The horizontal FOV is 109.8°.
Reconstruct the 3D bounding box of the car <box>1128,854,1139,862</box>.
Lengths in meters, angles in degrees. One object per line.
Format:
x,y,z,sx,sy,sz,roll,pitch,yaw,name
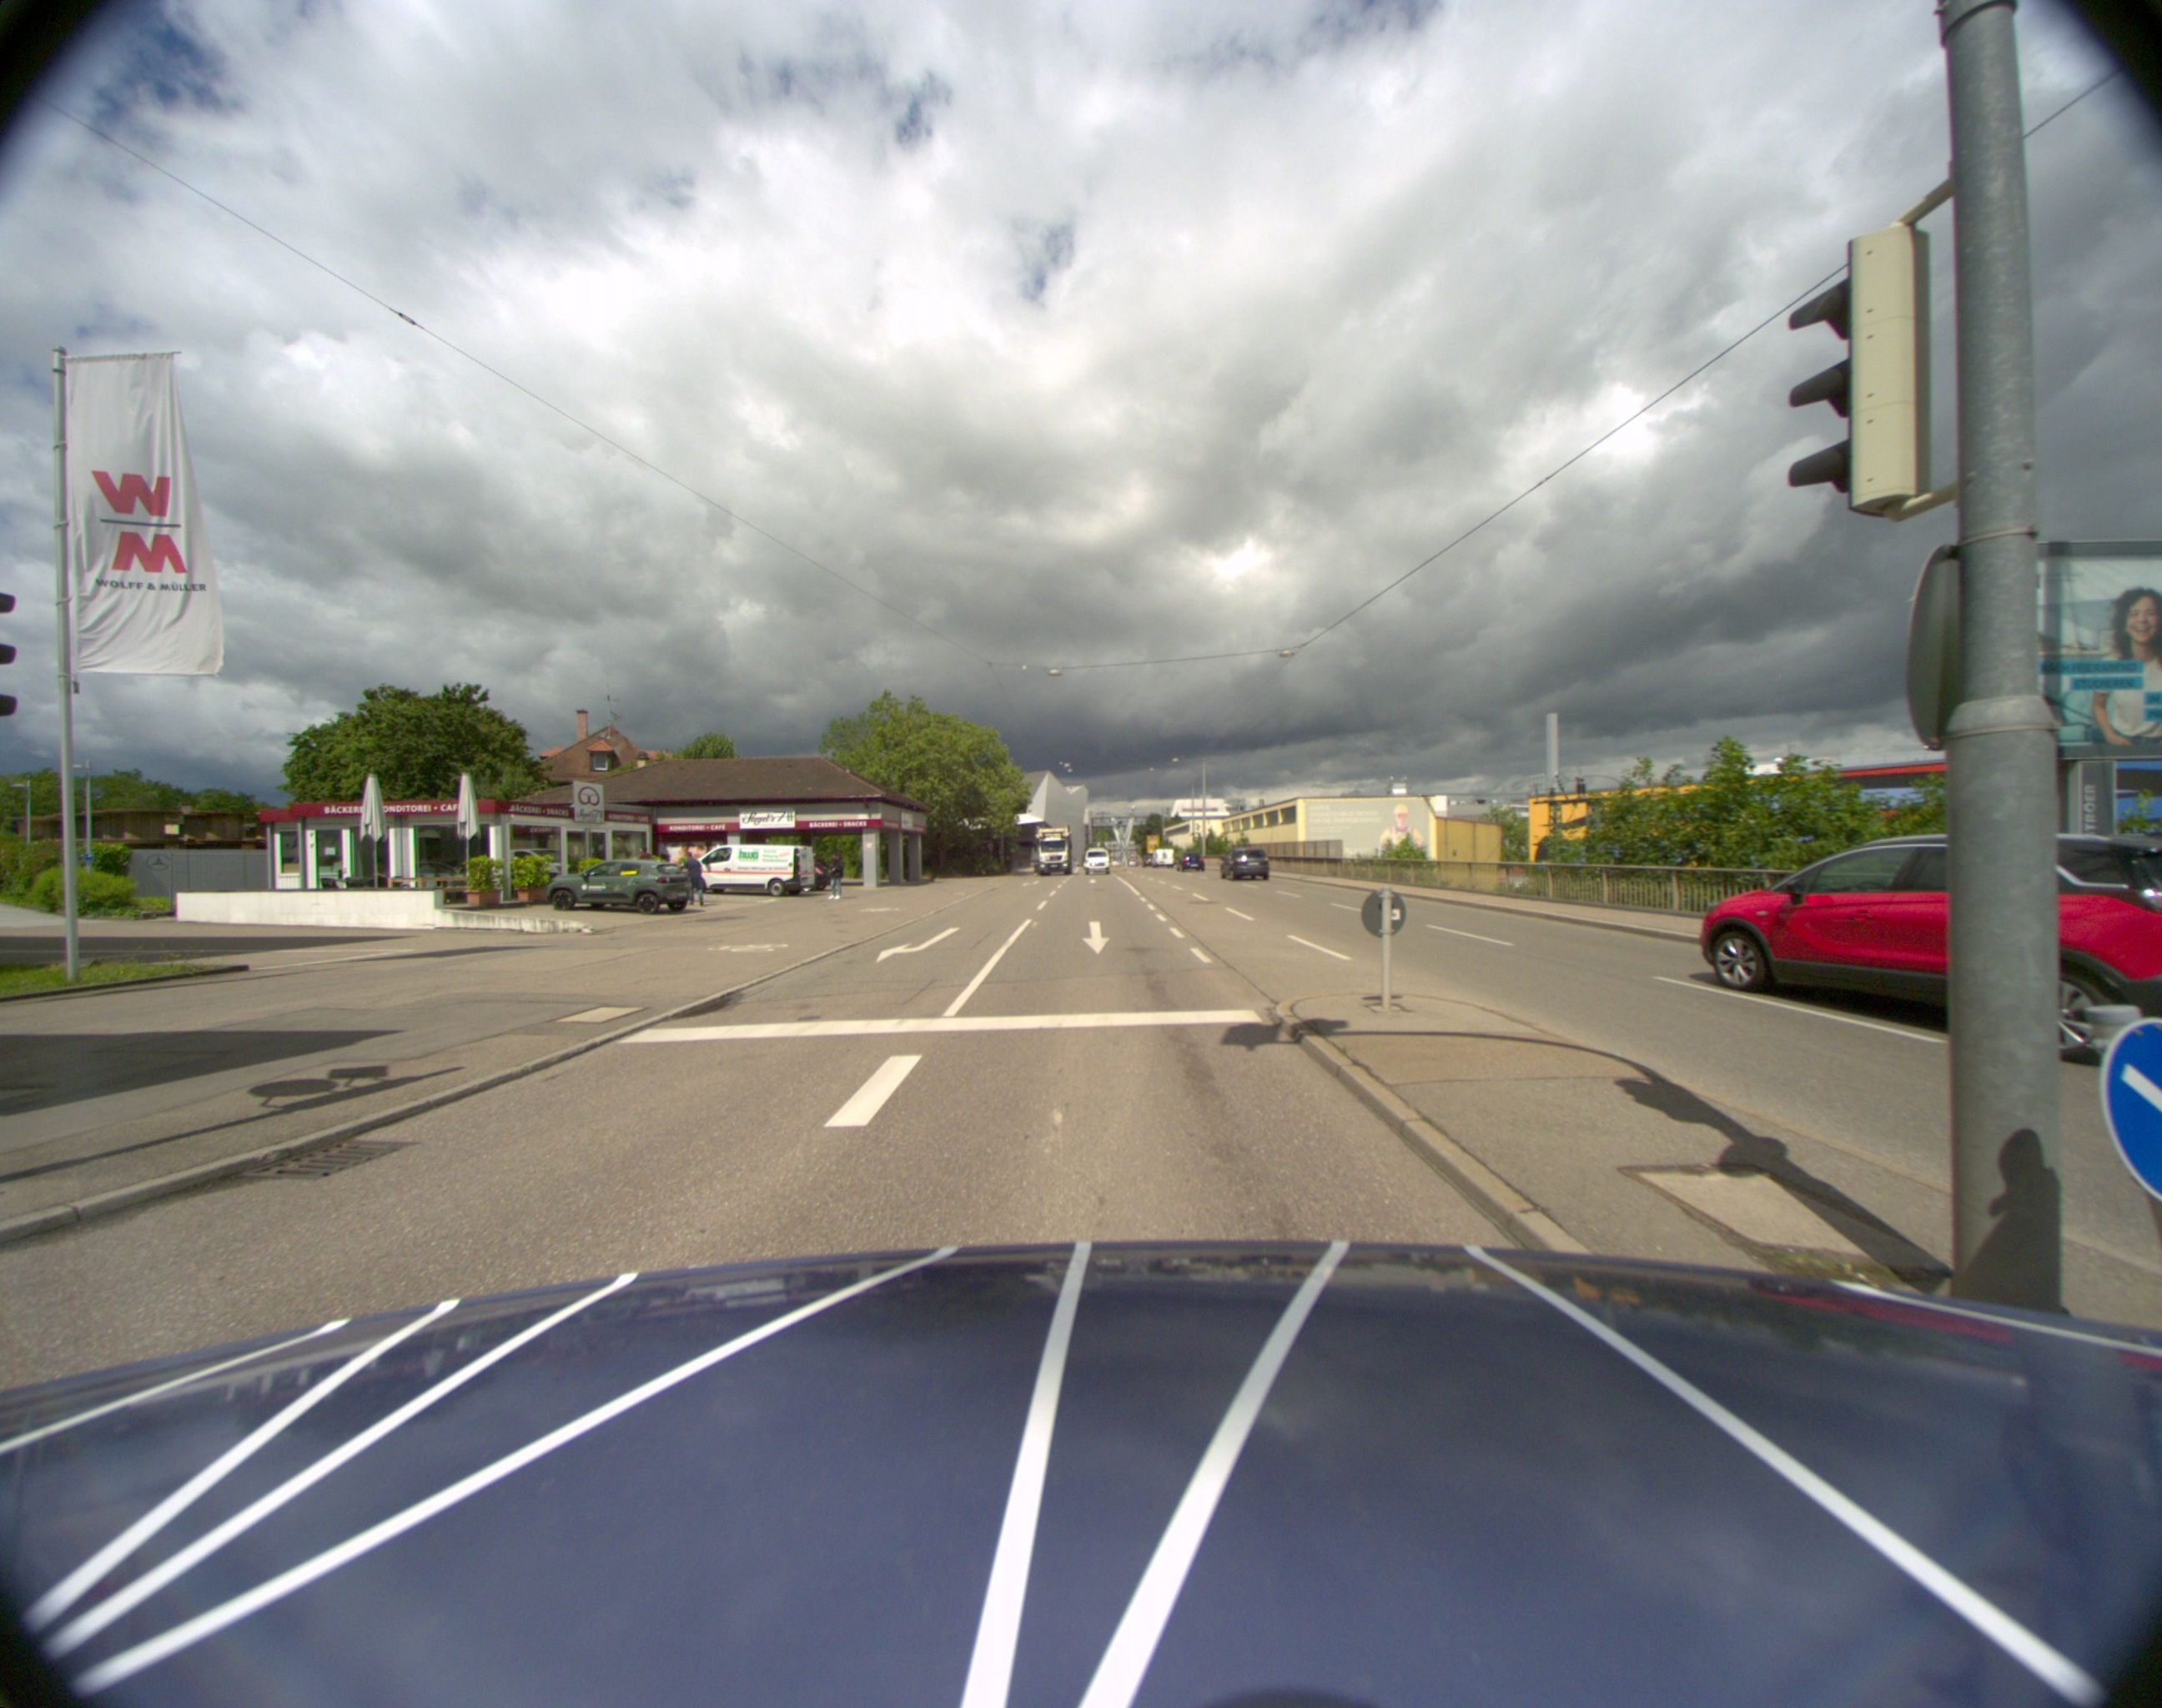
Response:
9.685,0.764,140.310,1.612,1.404,3.799,0,0,-1,car

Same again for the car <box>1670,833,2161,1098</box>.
7.507,0.671,6.371,1.935,1.590,4.152,1,1,1,car

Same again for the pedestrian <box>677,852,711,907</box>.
-12.206,0.799,23.978,0.712,1.697,0.631,0,1,28,pedestrian

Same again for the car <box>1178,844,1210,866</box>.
8.550,0.079,57.841,1.861,1.608,4.000,-1,0,1,car

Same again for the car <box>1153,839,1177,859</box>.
9.027,-0.550,81.861,1.896,2.002,5.649,-1,0,0,car

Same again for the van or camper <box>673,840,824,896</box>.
-12.903,0.521,29.713,4.909,1.947,2.211,2,2,1,van or camper

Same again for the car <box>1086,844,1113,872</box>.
1.487,0.253,59.099,1.935,2.078,4.208,-1,1,3,car

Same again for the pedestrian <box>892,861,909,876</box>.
-14.687,1.175,61.958,0.884,1.241,0.967,-1,1,29,pedestrian

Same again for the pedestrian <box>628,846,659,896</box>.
-14.939,0.568,25.940,0.749,1.697,0.571,0,1,28,pedestrian

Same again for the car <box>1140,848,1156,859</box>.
8.573,-0.081,97.682,1.612,1.404,3.799,-1,0,-1,car

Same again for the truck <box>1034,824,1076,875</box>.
-2.048,-0.466,63.819,2.836,3.890,10.364,0,2,2,truck

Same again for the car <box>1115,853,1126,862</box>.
7.374,0.634,141.256,1.806,1.543,3.770,-1,1,-1,car

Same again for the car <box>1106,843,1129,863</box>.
3.251,-0.100,68.579,1.870,1.782,4.207,0,1,0,car

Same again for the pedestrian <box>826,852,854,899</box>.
-8.816,0.770,27.804,0.714,1.697,0.739,-1,1,1,pedestrian

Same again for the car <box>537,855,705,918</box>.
-12.972,0.881,21.578,3.675,1.477,1.762,3,2,3,car

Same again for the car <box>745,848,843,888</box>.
-12.306,0.594,32.753,3.460,1.477,1.835,3,2,-2,car

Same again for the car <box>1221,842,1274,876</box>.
8.420,0.232,38.766,1.861,1.608,4.000,-1,0,1,car
